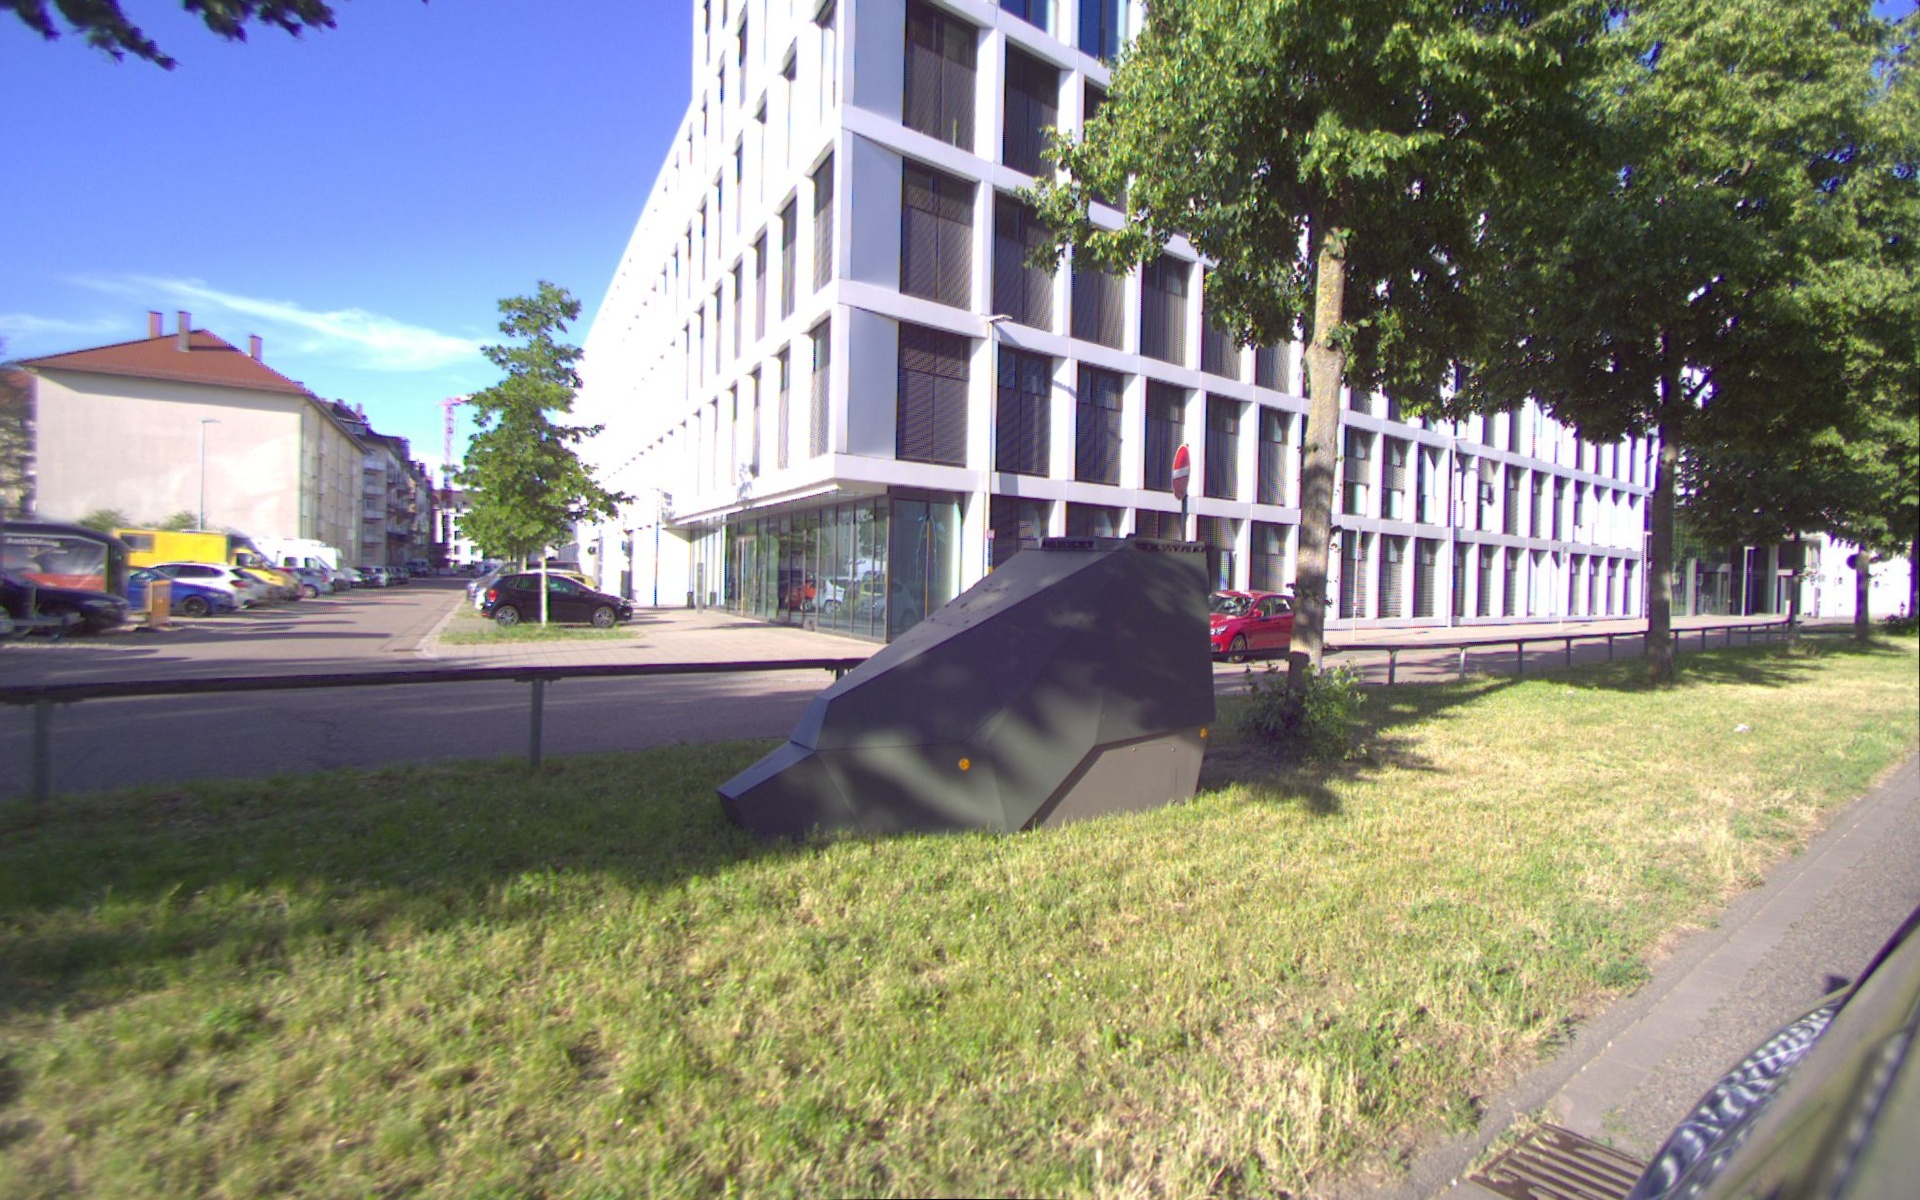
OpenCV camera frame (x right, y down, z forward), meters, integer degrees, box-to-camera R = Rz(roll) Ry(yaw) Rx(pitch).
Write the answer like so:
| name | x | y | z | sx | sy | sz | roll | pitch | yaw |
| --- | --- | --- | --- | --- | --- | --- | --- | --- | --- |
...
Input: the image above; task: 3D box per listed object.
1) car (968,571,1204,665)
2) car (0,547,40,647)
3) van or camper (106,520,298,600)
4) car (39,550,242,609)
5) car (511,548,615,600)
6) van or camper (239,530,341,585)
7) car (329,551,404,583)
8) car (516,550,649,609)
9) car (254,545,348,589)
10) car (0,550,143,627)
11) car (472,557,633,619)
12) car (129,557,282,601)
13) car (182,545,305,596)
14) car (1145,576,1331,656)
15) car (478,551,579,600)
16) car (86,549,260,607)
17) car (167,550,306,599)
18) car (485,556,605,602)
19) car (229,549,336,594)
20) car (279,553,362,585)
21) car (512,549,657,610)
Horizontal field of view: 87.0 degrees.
| name | x | y | z | sx | sy | sz | roll | pitch | yaw |
| --- | --- | --- | --- | --- | --- | --- | --- | --- | --- |
| car | 2.482 | 0.273 | 19.509 | 4.321 | 1.503 | 2.000 | -1 | 5 | -38 |
| car | -16.843 | -0.031 | 15.383 | 3.868 | 1.559 | 1.726 | -1 | 0 | -22 |
| van or camper | -29.349 | -1.515 | 39.457 | 5.732 | 2.928 | 2.002 | -1 | 0 | -28 |
| car | -23.535 | -0.559 | 29.263 | 4.184 | 1.492 | 1.836 | 2 | 0 | -25 |
| car | -16.486 | -1.059 | 41.990 | 3.917 | 2.039 | 2.003 | -1 | 0 | -25 |
| van or camper | -37.322 | -2.313 | 56.506 | 4.469 | 2.956 | 2.003 | -1 | 0 | -25 |
| car | -38.302 | -2.121 | 65.423 | 3.917 | 2.039 | 2.004 | -1 | 0 | -23 |
| car | -12.279 | -0.659 | 32.906 | 3.917 | 1.794 | 2.003 | -1 | 0 | -25 |
| car | -34.924 | -1.716 | 53.772 | 3.917 | 2.245 | 2.003 | -1 | 0 | -25 |
| car | -19.370 | -0.221 | 20.664 | 3.800 | 1.515 | 1.790 | -1 | 0 | -22 |
| car | -11.095 | -0.327 | 27.561 | 3.918 | 1.594 | 2.003 | -1 | 0 | -26 |
| car | -26.057 | -0.694 | 35.111 | 3.917 | 1.369 | 1.738 | 1 | -1 | -25 |
| car | -30.088 | -1.210 | 42.626 | 3.917 | 2.039 | 2.003 | -1 | 0 | -25 |
| car | 6.204 | 0.280 | 22.402 | 4.197 | 1.503 | 1.870 | -1 | 5 | -40 |
| car | -18.614 | -1.059 | 43.725 | 3.917 | 2.039 | 2.003 | -1 | 0 | -25 |
| car | -24.611 | -0.658 | 31.846 | 3.917 | 1.638 | 2.003 | 2 | -1 | -25 |
| car | -26.776 | -0.932 | 37.620 | 3.918 | 1.749 | 2.004 | 0 | 1 | -26 |
| car | -15.117 | -0.764 | 36.895 | 3.917 | 1.616 | 2.003 | -1 | 0 | -25 |
| car | -31.874 | -1.335 | 47.762 | 3.917 | 2.039 | 2.003 | -1 | 0 | -25 |
| car | -37.799 | -1.817 | 59.929 | 3.917 | 1.838 | 2.004 | -1 | 0 | -23 |
| car | -11.223 | -0.600 | 30.245 | 3.917 | 1.705 | 2.003 | -1 | 0 | -25 |
